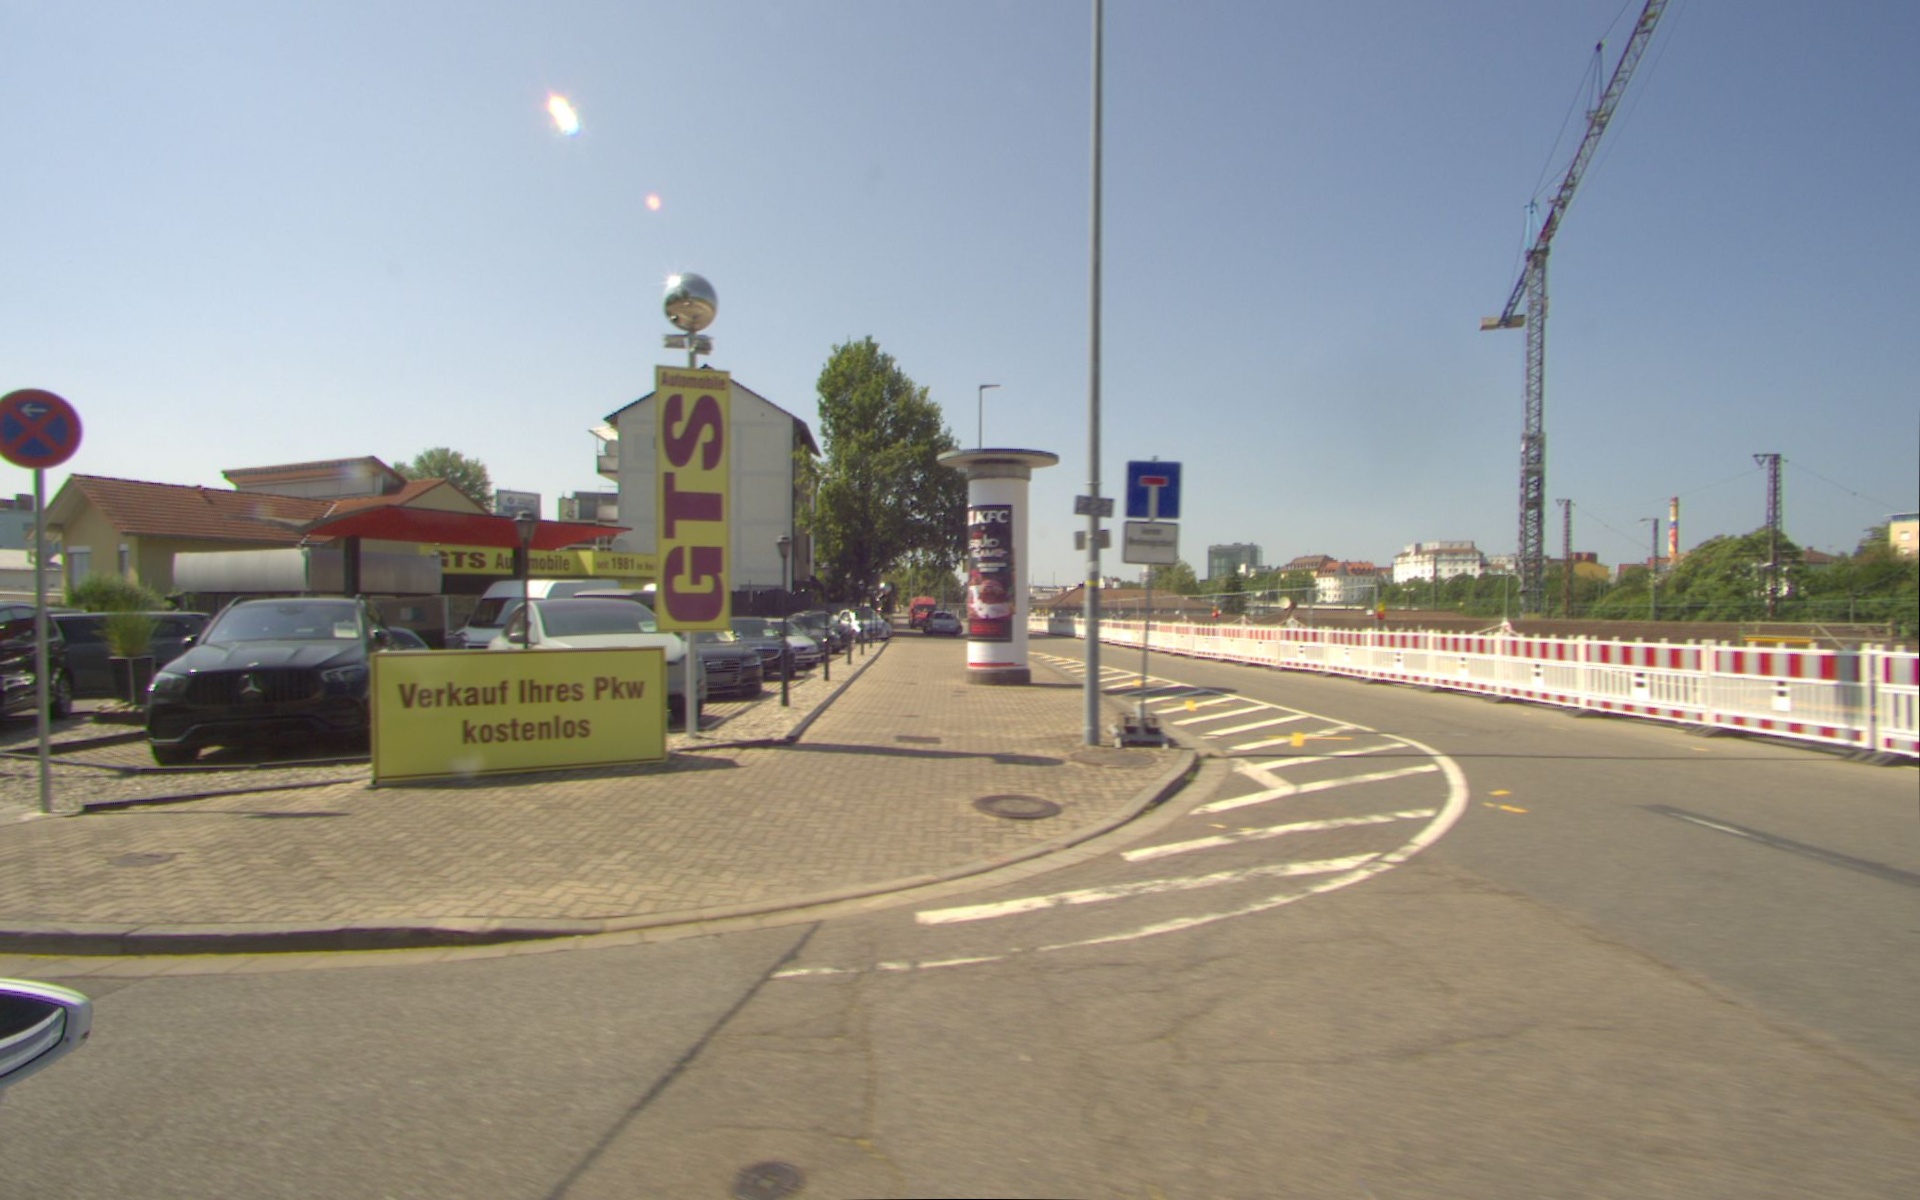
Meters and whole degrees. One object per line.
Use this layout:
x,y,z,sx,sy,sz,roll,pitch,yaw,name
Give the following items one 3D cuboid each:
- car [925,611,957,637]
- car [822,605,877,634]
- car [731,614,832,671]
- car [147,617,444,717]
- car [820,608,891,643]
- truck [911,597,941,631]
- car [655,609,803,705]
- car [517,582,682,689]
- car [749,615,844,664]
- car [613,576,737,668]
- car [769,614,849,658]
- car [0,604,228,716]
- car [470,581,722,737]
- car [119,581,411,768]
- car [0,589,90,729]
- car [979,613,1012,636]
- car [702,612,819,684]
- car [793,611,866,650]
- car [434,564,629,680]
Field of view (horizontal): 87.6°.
-1.159,1.449,61.973,1.839,1.518,4.031,-1,0,1,car
-8.153,1.437,73.780,3.862,1.984,1.758,2,-1,-10,car
-5.316,1.223,29.431,1.758,1.492,3.983,-3,-1,-28,car
-12.046,1.120,18.630,1.878,1.595,4.685,0,-1,11,car
-4.861,1.191,46.242,1.756,1.492,3.980,-2,0,-30,car
-2.820,1.175,81.214,2.202,2.682,5.683,0,-2,-4,truck
-4.387,0.990,18.577,1.813,1.492,3.986,-2,0,-25,car
-8.684,0.883,24.670,2.209,2.380,4.826,0,-2,2,car
-5.512,1.297,33.409,1.649,1.492,3.977,-2,0,-32,car
-8.656,0.721,31.026,2.209,2.460,5.721,3,-2,-1,car
-5.784,1.350,38.066,1.648,1.492,3.980,-2,0,-30,car
-16.193,1.020,17.956,4.838,1.866,2.145,0,-1,-40,car
-5.086,0.793,13.557,1.957,1.728,4.634,-1,-3,-36,car
-7.730,0.785,11.638,2.016,1.728,4.302,0,-2,-24,car
-12.783,0.741,12.569,1.783,1.677,4.297,-1,-1,-27,car
2.220,1.569,63.195,1.689,1.434,4.079,0,-2,-4,car
-4.845,1.106,23.910,1.813,1.492,3.986,-2,0,-25,car
-5.632,1.304,42.711,1.648,1.492,3.980,-2,0,-30,car
-11.380,0.633,27.239,2.240,2.793,6.154,-1,-2,5,car
